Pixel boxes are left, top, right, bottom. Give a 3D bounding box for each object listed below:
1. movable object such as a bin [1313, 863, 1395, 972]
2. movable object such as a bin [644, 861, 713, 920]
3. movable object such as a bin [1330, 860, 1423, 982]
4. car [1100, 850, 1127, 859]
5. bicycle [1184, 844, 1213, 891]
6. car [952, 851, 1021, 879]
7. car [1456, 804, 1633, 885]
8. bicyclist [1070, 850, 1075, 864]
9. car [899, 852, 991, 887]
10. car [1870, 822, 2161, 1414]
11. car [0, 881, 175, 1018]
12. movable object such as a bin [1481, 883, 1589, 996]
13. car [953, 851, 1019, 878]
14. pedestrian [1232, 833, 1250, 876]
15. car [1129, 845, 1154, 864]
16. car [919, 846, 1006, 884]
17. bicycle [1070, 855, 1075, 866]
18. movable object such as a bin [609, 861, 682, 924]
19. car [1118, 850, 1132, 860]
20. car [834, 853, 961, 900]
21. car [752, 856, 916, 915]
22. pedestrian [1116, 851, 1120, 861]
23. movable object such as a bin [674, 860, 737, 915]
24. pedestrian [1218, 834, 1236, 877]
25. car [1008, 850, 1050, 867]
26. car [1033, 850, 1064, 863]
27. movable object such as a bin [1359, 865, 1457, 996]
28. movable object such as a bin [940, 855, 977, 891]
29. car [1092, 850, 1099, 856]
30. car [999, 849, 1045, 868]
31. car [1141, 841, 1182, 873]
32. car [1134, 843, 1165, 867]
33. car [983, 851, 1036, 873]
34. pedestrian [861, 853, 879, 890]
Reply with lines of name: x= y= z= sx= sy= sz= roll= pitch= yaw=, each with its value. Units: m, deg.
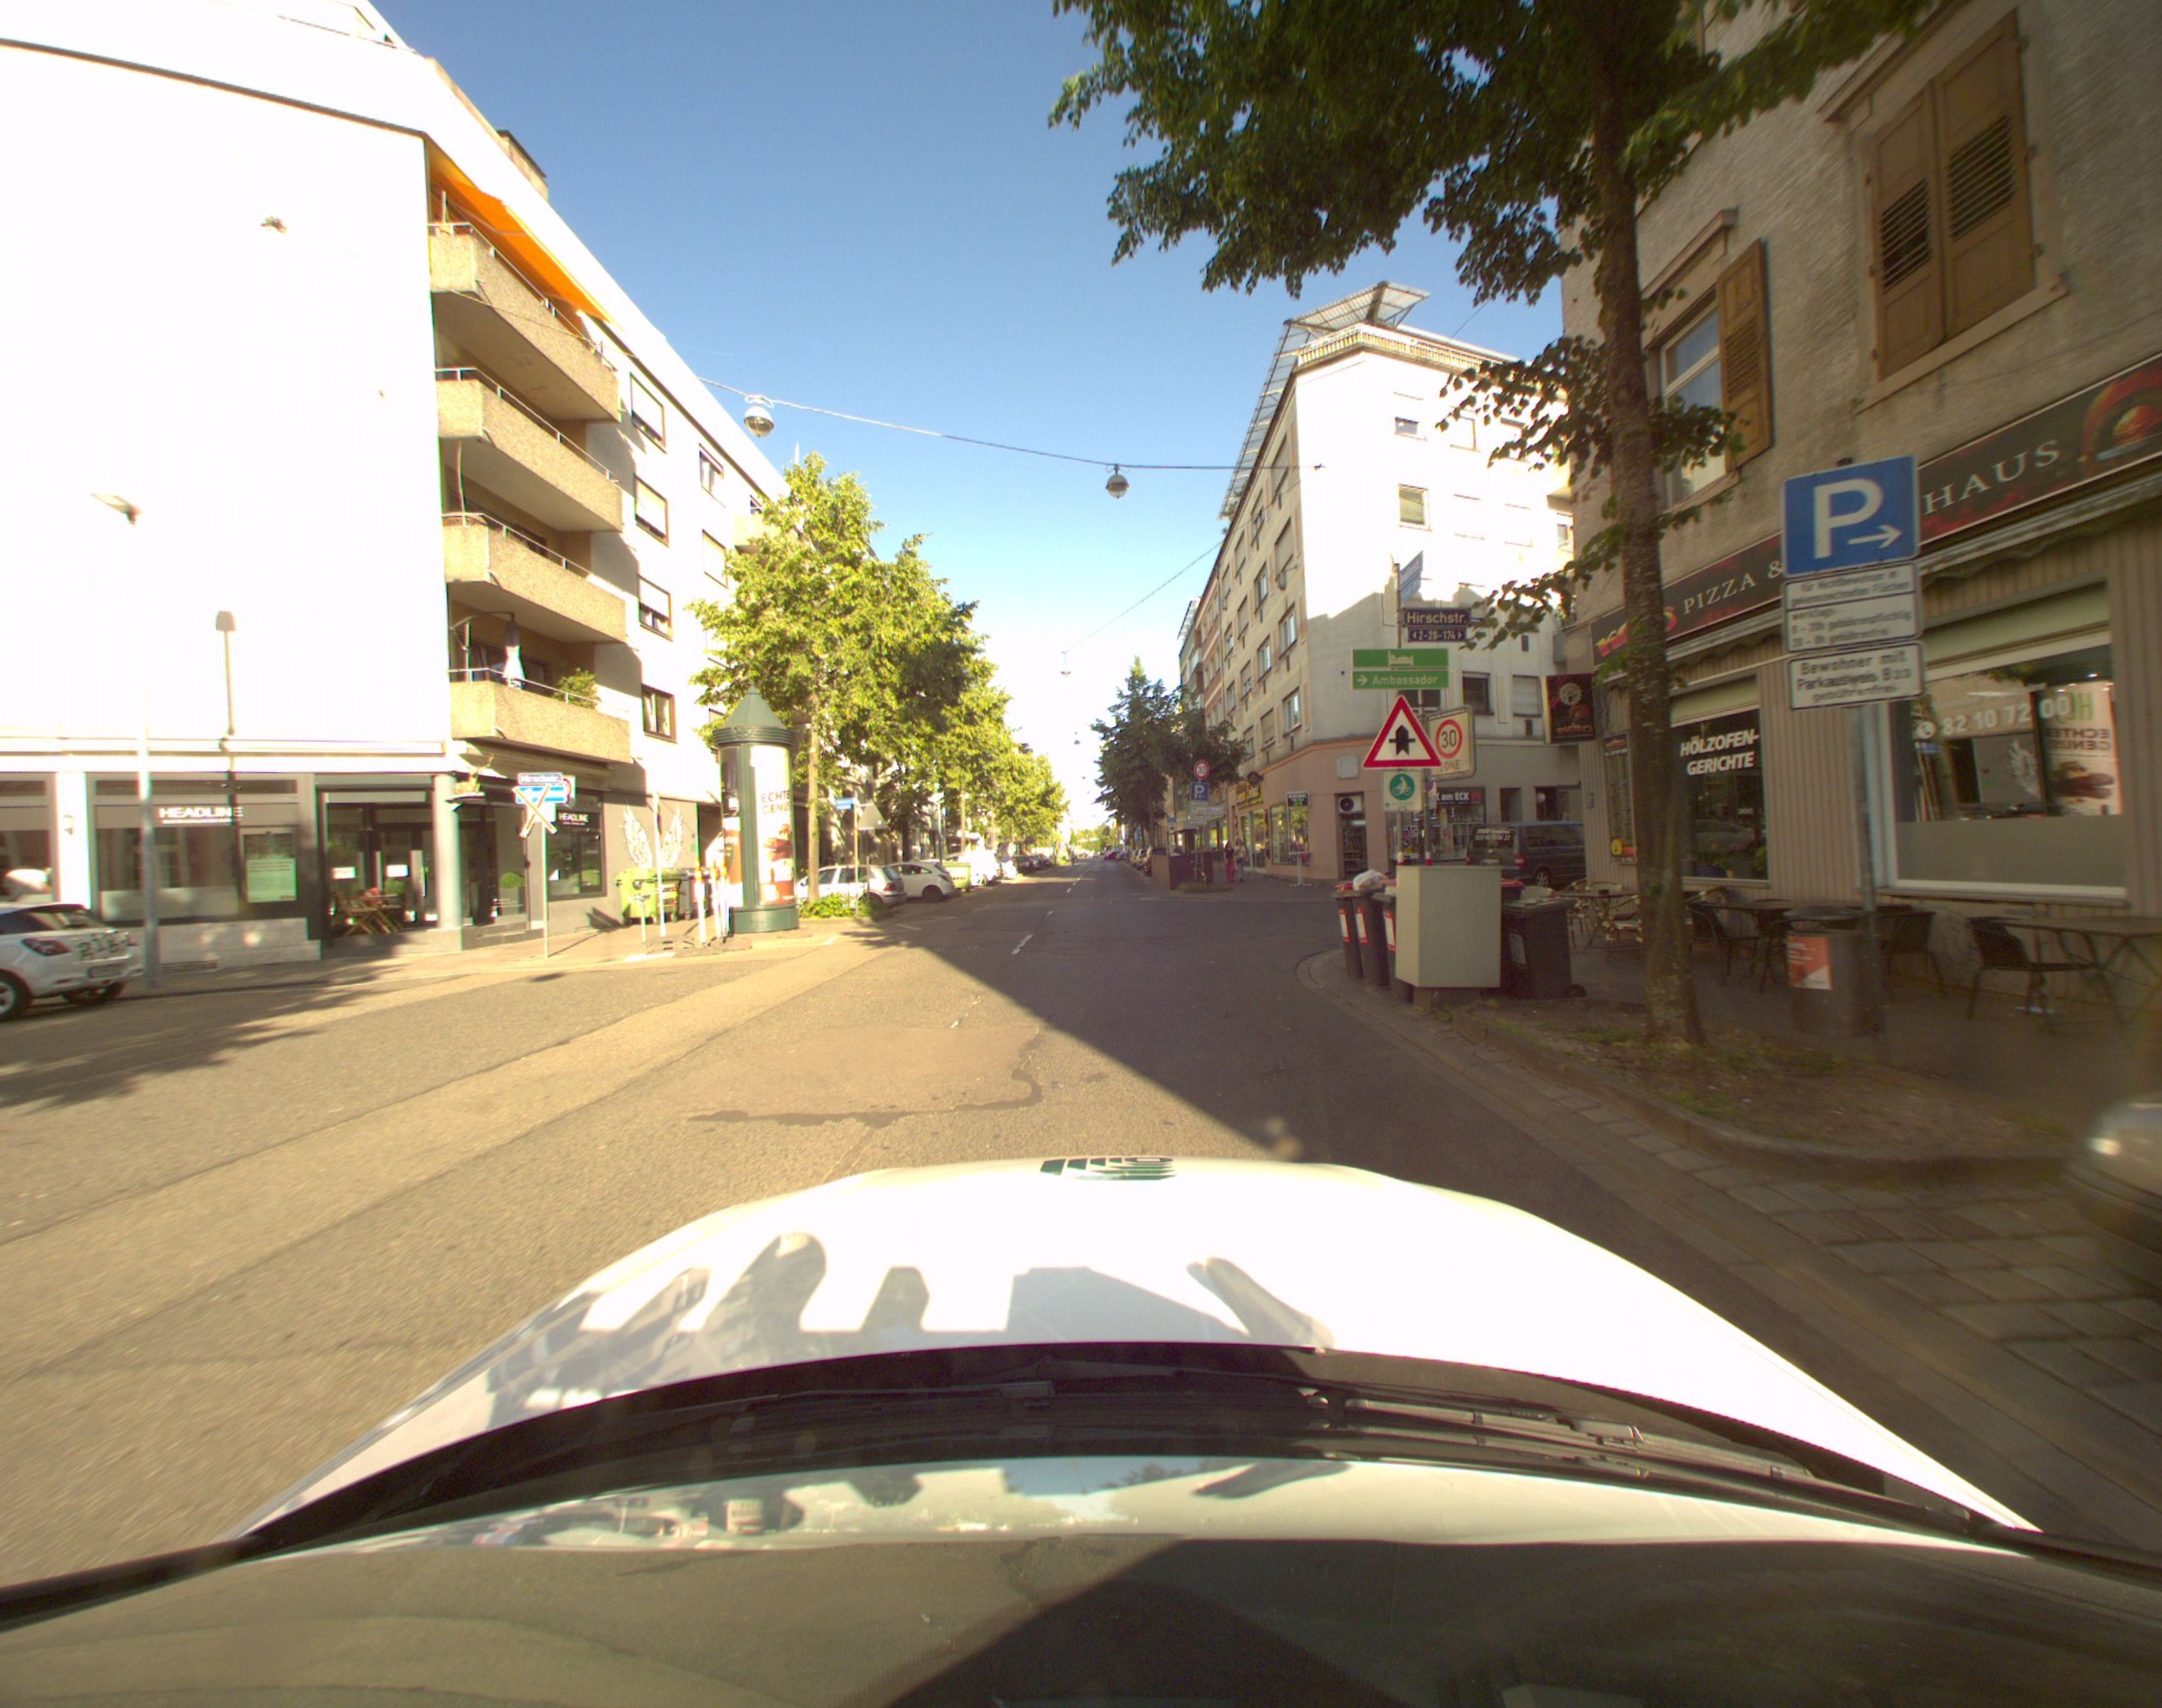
movable object such as a bin: x=3.178 y=0.719 z=9.531 sx=0.657 sy=1.179 sz=0.739 roll=-3 pitch=0 yaw=-1
movable object such as a bin: x=-11.020 y=0.979 z=22.348 sx=1.168 sy=1.485 sz=1.314 roll=-3 pitch=0 yaw=-1
movable object such as a bin: x=3.171 y=0.695 z=8.794 sx=0.703 sy=1.222 sz=0.680 roll=-3 pitch=0 yaw=-1
car: x=5.469 y=0.099 z=135.786 sx=4.015 sy=1.442 sz=1.979 roll=-2 pitch=-1 yaw=-33
bicycle: x=3.873 y=0.423 z=27.000 sx=0.559 sy=1.441 sz=1.629 roll=-8 pitch=0 yaw=1
car: x=-5.868 y=0.665 z=50.768 sx=3.974 sy=1.499 sz=2.000 roll=-3 pitch=0 yaw=0
car: x=13.104 y=-0.289 z=22.999 sx=4.706 sy=2.013 sz=1.983 roll=-3 pitch=0 yaw=-26
bicyclist: x=-0.978 y=0.320 z=92.486 sx=0.558 sy=1.548 sz=0.728 roll=-2 pitch=-1 yaw=1
car: x=-6.497 y=0.744 z=39.157 sx=3.967 sy=1.457 sz=1.871 roll=-3 pitch=0 yaw=6
car: x=3.470 y=0.599 z=0.467 sx=1.816 sy=1.391 sz=4.301 roll=-5 pitch=0 yaw=0
car: x=-14.905 y=1.296 z=10.336 sx=4.001 sy=1.610 sz=1.987 roll=-3 pitch=0 yaw=-20
movable object such as a bin: x=3.984 y=0.730 z=7.184 sx=0.561 sy=0.895 sz=0.628 roll=-3 pitch=0 yaw=-1
car: x=-6.199 y=0.679 z=53.281 sx=3.974 sy=1.500 sz=2.000 roll=-3 pitch=-1 yaw=0
pedestrian: x=6.301 y=0.007 z=32.057 sx=0.545 sy=1.649 sz=0.665 roll=-3 pitch=0 yaw=1
car: x=5.392 y=0.034 z=72.675 sx=1.986 sy=1.609 sz=4.001 roll=-3 pitch=0 yaw=1
car: x=-6.074 y=0.546 z=41.950 sx=3.967 sy=1.694 sz=2.004 roll=-3 pitch=0 yaw=6
bicycle: x=-0.954 y=0.726 z=92.424 sx=0.558 sy=1.180 sz=1.629 roll=-2 pitch=-1 yaw=1
movable object such as a bin: x=-11.133 y=0.967 z=20.893 sx=1.137 sy=1.485 sz=1.235 roll=-3 pitch=0 yaw=-1
car: x=6.952 y=0.233 z=128.036 sx=1.986 sy=1.508 sz=4.001 roll=-2 pitch=-1 yaw=1
car: x=-6.469 y=0.772 z=29.039 sx=3.974 sy=1.390 sz=2.000 roll=-3 pitch=0 yaw=0
car: x=-6.957 y=0.873 z=23.257 sx=3.974 sy=1.390 sz=2.000 roll=-3 pitch=0 yaw=0
pedestrian: x=5.450 y=0.328 z=119.818 sx=0.544 sy=1.472 sz=0.546 roll=-3 pitch=0 yaw=-1
movable object such as a bin: x=-11.039 y=0.970 z=23.979 sx=1.168 sy=1.485 sz=1.314 roll=-3 pitch=0 yaw=-1
pedestrian: x=5.732 y=0.053 z=32.043 sx=0.545 sy=1.649 sz=0.665 roll=-3 pitch=0 yaw=1
car: x=-5.213 y=0.472 z=81.738 sx=3.974 sy=1.499 sz=2.000 roll=-3 pitch=0 yaw=0
car: x=-4.352 y=0.326 z=109.687 sx=3.974 sy=1.499 sz=2.000 roll=-3 pitch=0 yaw=0
movable object such as a bin: x=3.172 y=0.722 z=7.955 sx=0.619 sy=1.179 sz=0.711 roll=-3 pitch=0 yaw=-1
movable object such as a bin: x=-5.349 y=0.817 z=35.700 sx=1.330 sy=1.478 sz=1.480 roll=-3 pitch=0 yaw=1
car: x=4.047 y=-0.294 z=230.263 sx=1.786 sy=1.411 sz=4.001 roll=-3 pitch=0 yaw=1
car: x=-5.457 y=0.425 z=75.494 sx=3.974 sy=1.499 sz=2.000 roll=-3 pitch=0 yaw=0
car: x=4.570 y=0.145 z=46.664 sx=1.986 sy=1.609 sz=4.001 roll=-3 pitch=0 yaw=1
car: x=5.014 y=0.072 z=60.037 sx=1.986 sy=1.609 sz=4.001 roll=-3 pitch=0 yaw=1
car: x=-5.654 y=0.598 z=64.722 sx=3.974 sy=1.499 sz=2.000 roll=-3 pitch=0 yaw=0
pedestrian: x=-9.738 y=0.816 z=37.636 sx=0.544 sy=1.649 sz=0.665 roll=-3 pitch=0 yaw=3
